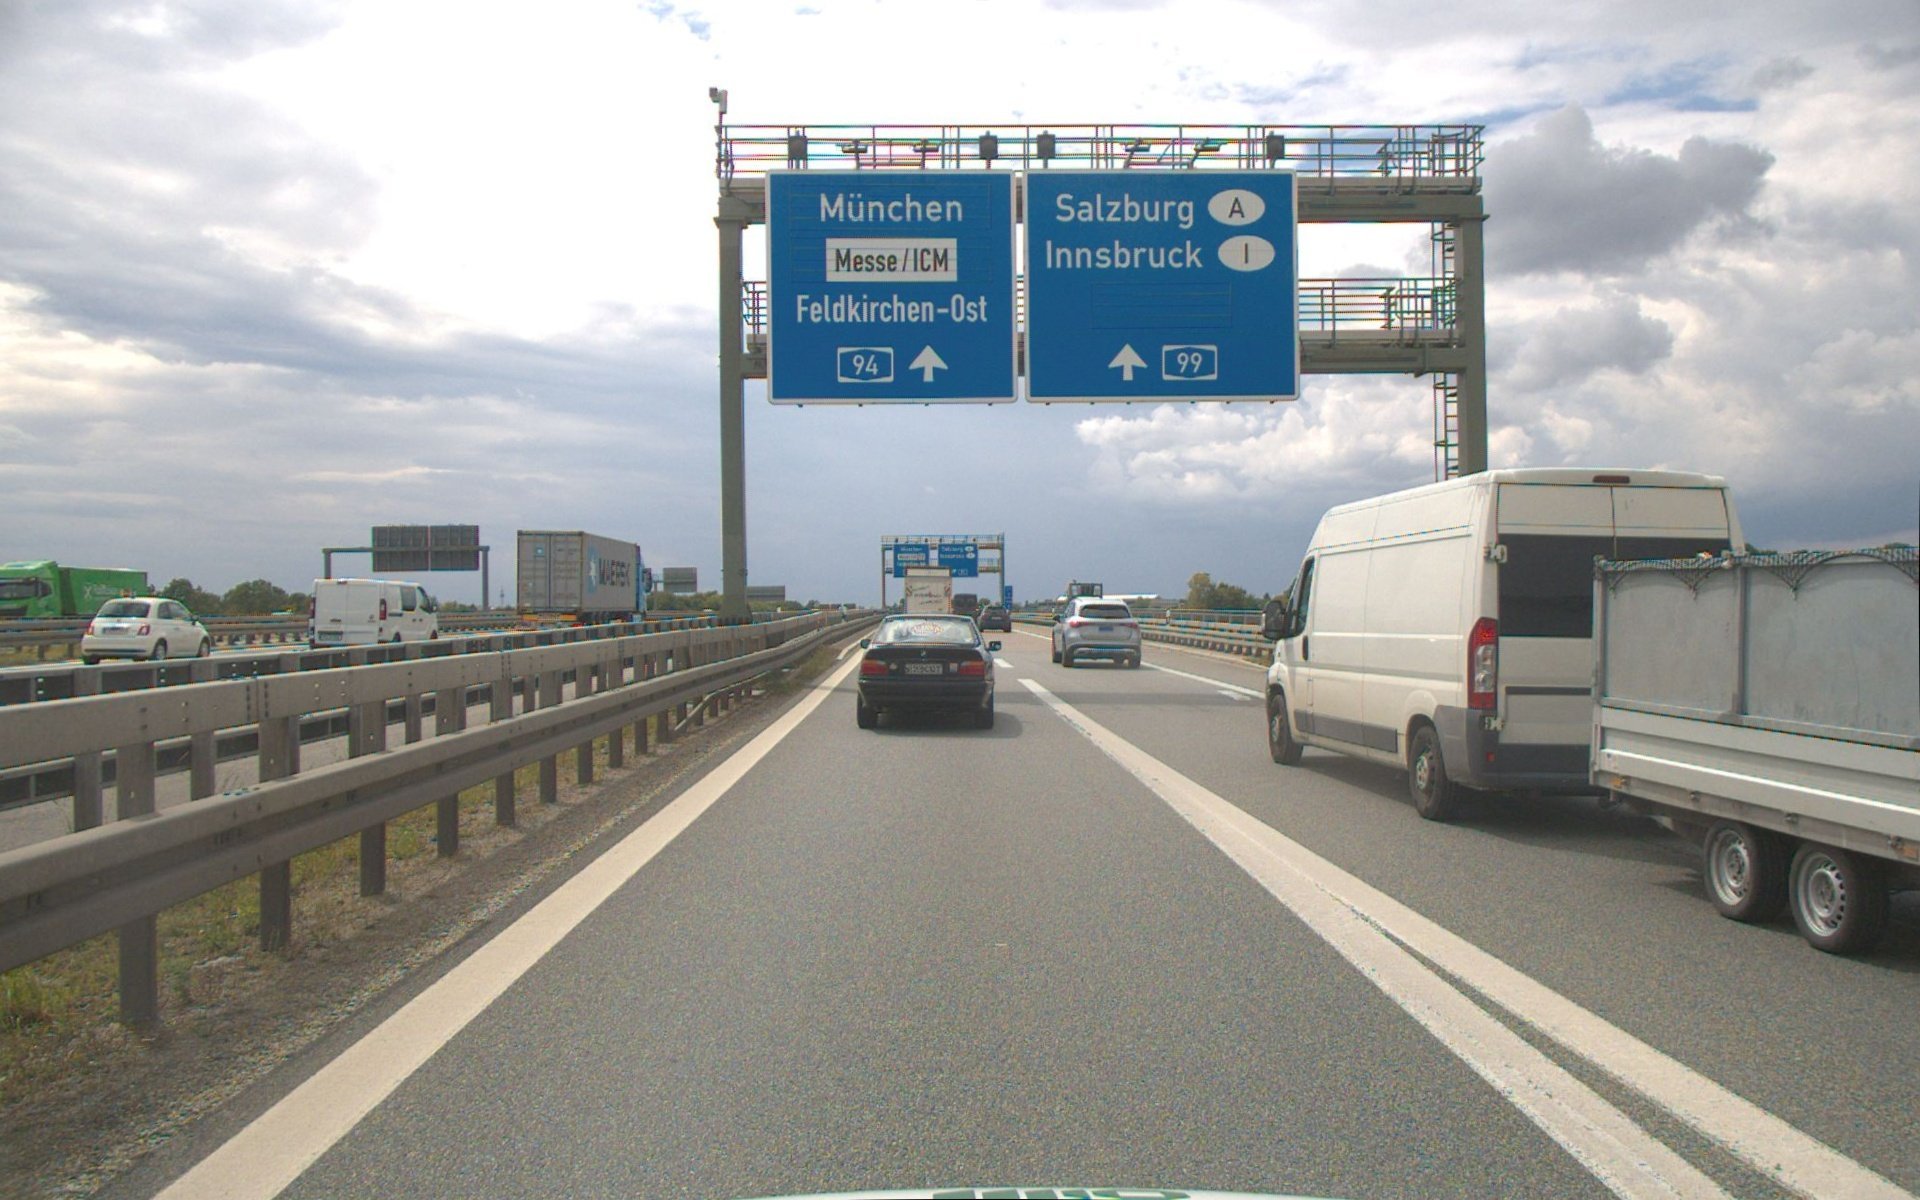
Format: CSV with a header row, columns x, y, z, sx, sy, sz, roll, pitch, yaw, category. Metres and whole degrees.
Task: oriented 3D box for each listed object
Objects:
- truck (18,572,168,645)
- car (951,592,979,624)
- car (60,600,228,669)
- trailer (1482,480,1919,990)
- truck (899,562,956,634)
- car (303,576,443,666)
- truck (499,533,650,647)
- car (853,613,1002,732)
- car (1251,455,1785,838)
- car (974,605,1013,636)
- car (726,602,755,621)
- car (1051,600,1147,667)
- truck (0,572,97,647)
x,y,z,sx,sy,sz,roll,pitch,yaw,category
-47.186,0.463,90.437,2.952,3.698,10.432,1,0,-2,truck
0.373,0.561,122.910,1.868,2.301,4.647,1,0,-2,car
-18.218,0.736,37.126,1.761,1.444,4.000,1,0,0,car
4.591,0.558,8.774,1.819,2.049,4.626,1,0,-5,trailer
-1.596,0.014,79.498,2.517,3.181,8.630,1,-1,-2,truck
-14.322,0.486,40.642,1.953,2.049,4.373,1,0,-2,car
-15.482,-0.349,67.954,3.120,4.089,16.065,1,0,-3,truck
-0.372,0.838,20.943,1.669,1.303,4.365,1,0,0,car
4.242,0.319,13.997,2.072,2.497,6.146,1,0,-4,car
1.781,1.080,89.386,1.847,1.579,3.998,1,0,-2,car
-17.915,0.930,135.162,1.791,1.590,3.999,0,0,-1,car
3.340,0.787,40.474,1.783,1.541,3.997,1,0,-3,car
-46.948,0.466,84.281,2.980,3.672,5.891,1,0,-2,truck
